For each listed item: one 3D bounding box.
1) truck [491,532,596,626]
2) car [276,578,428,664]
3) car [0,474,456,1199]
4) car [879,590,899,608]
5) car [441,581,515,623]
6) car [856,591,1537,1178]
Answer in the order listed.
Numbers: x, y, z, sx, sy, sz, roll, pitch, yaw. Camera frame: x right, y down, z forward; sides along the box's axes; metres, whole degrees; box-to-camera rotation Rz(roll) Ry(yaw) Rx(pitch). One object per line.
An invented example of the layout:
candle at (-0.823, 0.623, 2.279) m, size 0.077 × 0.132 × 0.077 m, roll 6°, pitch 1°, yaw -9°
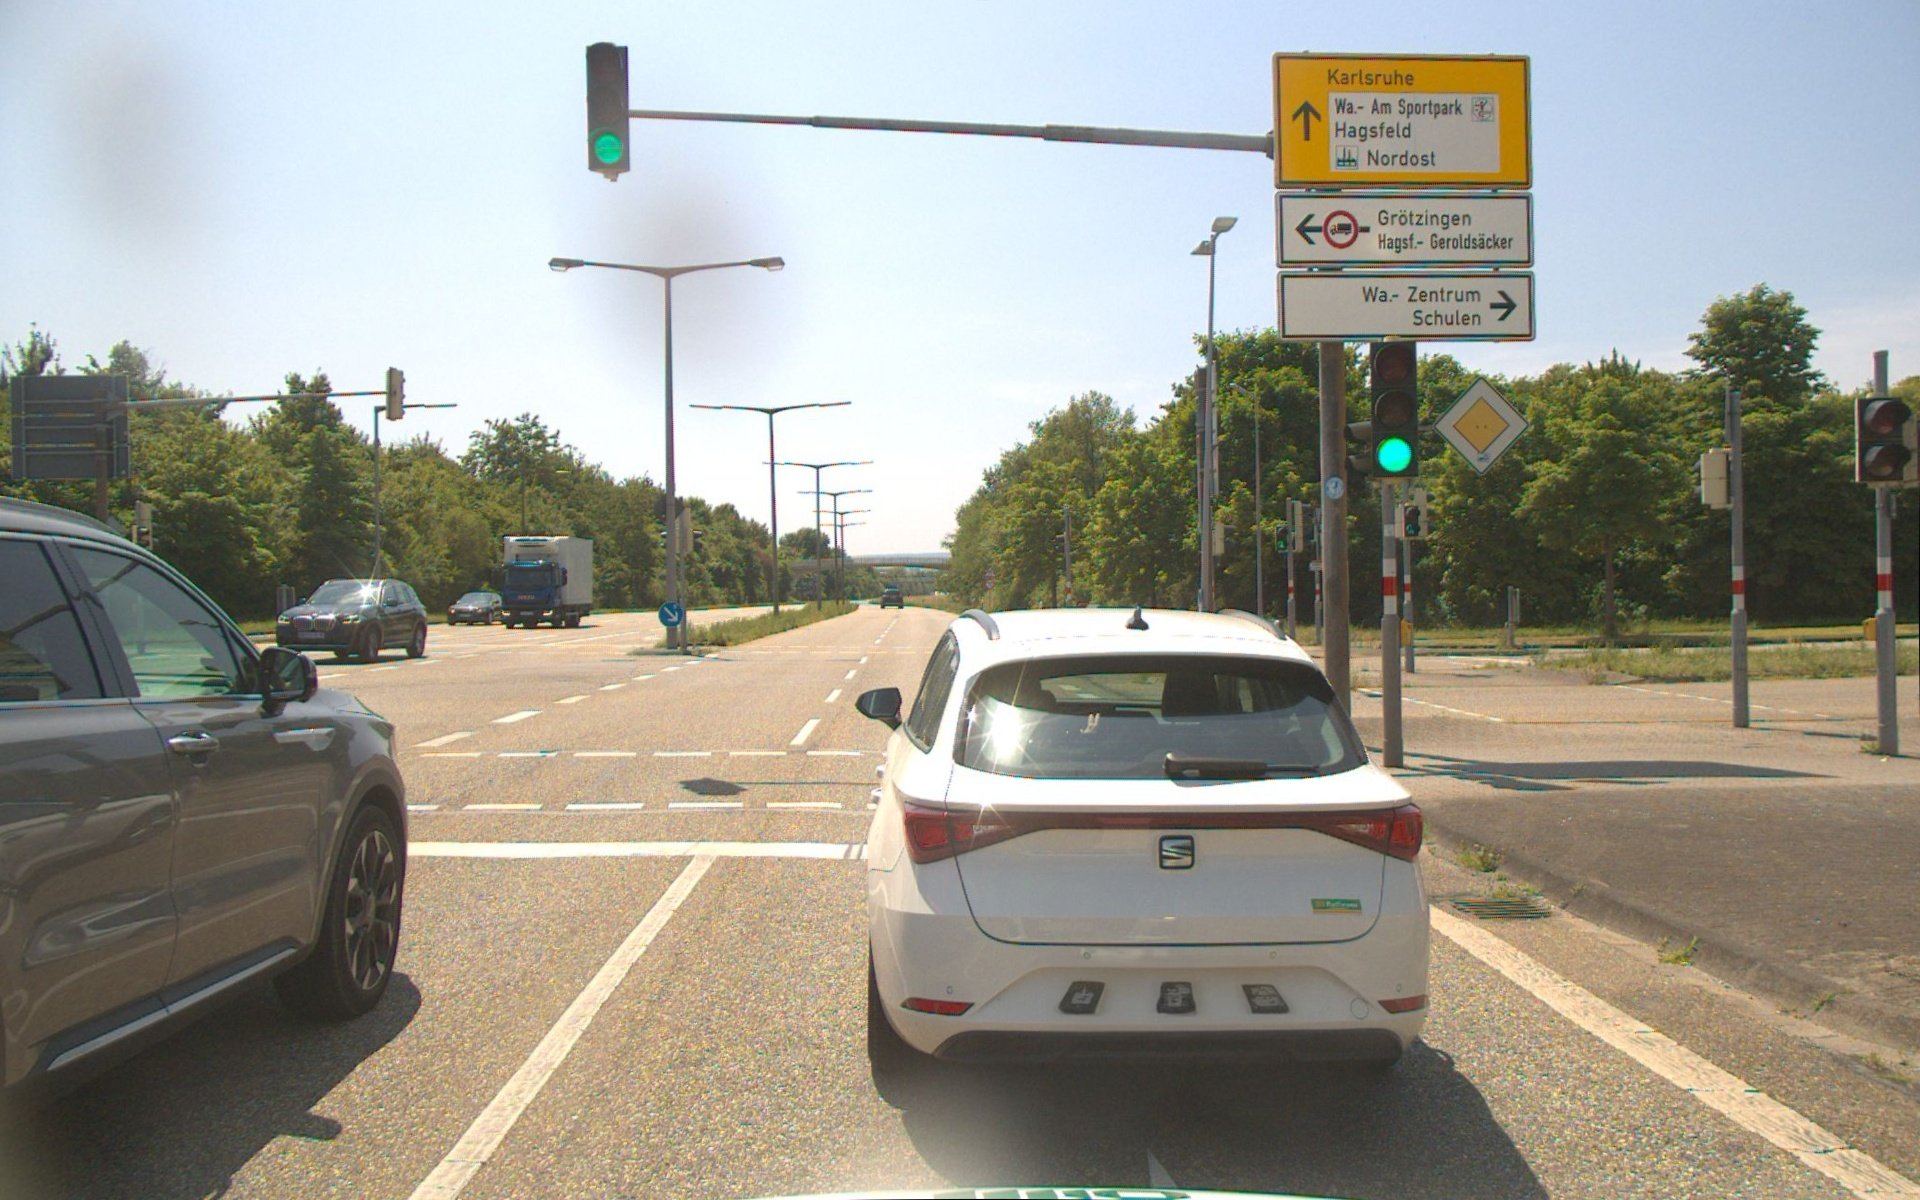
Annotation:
truck at (-16.884, -0.833, 67.502) m, size 2.633 × 3.633 × 7.265 m, roll 0°, pitch 0°, yaw -2°
car at (-12.759, 0.402, 34.974) m, size 1.672 × 1.692 × 4.222 m, roll -1°, pitch 0°, yaw -1°
car at (-2.865, 0.595, 4.260) m, size 1.767 × 1.691 × 4.643 m, roll -1°, pitch 0°, yaw -1°
car at (-6.711, -0.108, 157.031) m, size 1.817 × 1.738 × 3.999 m, roll -1°, pitch 0°, yaw -2°
car at (-20.813, 0.060, 71.594) m, size 1.785 × 1.762 × 4.925 m, roll -1°, pitch 0°, yaw -1°
car at (0.572, 0.731, 6.010) m, size 1.699 × 1.453 × 3.693 m, roll 1°, pitch 0°, yaw -1°
